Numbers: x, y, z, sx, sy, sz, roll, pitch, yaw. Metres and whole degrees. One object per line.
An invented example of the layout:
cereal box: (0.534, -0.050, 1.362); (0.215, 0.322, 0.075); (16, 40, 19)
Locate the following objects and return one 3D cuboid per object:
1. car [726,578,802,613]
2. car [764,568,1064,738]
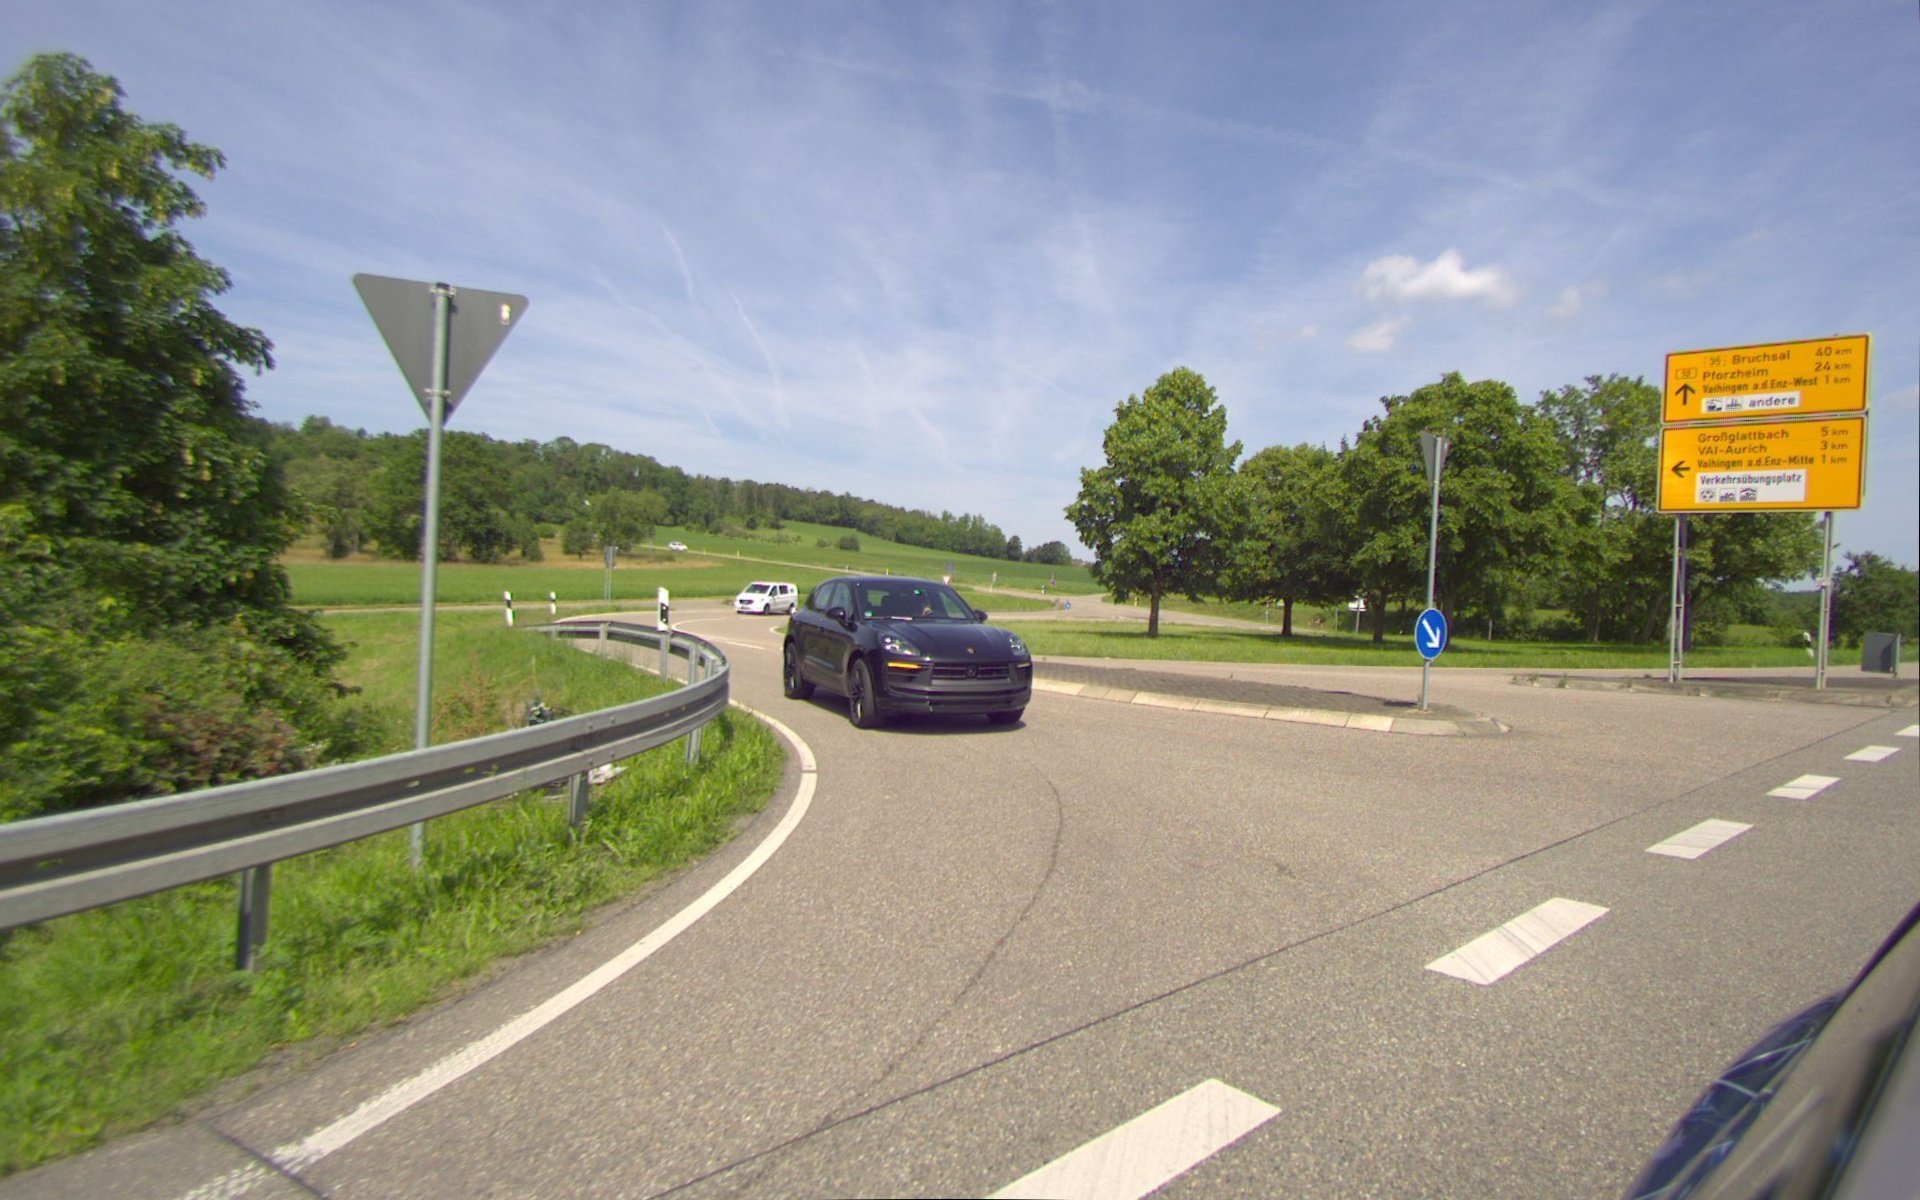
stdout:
car: (-11.495, -0.294, 59.927); (1.975, 1.869, 5.389); (4, 2, 18)
car: (-0.782, 0.471, 12.068); (2.021, 1.610, 4.437); (1, 1, -25)
